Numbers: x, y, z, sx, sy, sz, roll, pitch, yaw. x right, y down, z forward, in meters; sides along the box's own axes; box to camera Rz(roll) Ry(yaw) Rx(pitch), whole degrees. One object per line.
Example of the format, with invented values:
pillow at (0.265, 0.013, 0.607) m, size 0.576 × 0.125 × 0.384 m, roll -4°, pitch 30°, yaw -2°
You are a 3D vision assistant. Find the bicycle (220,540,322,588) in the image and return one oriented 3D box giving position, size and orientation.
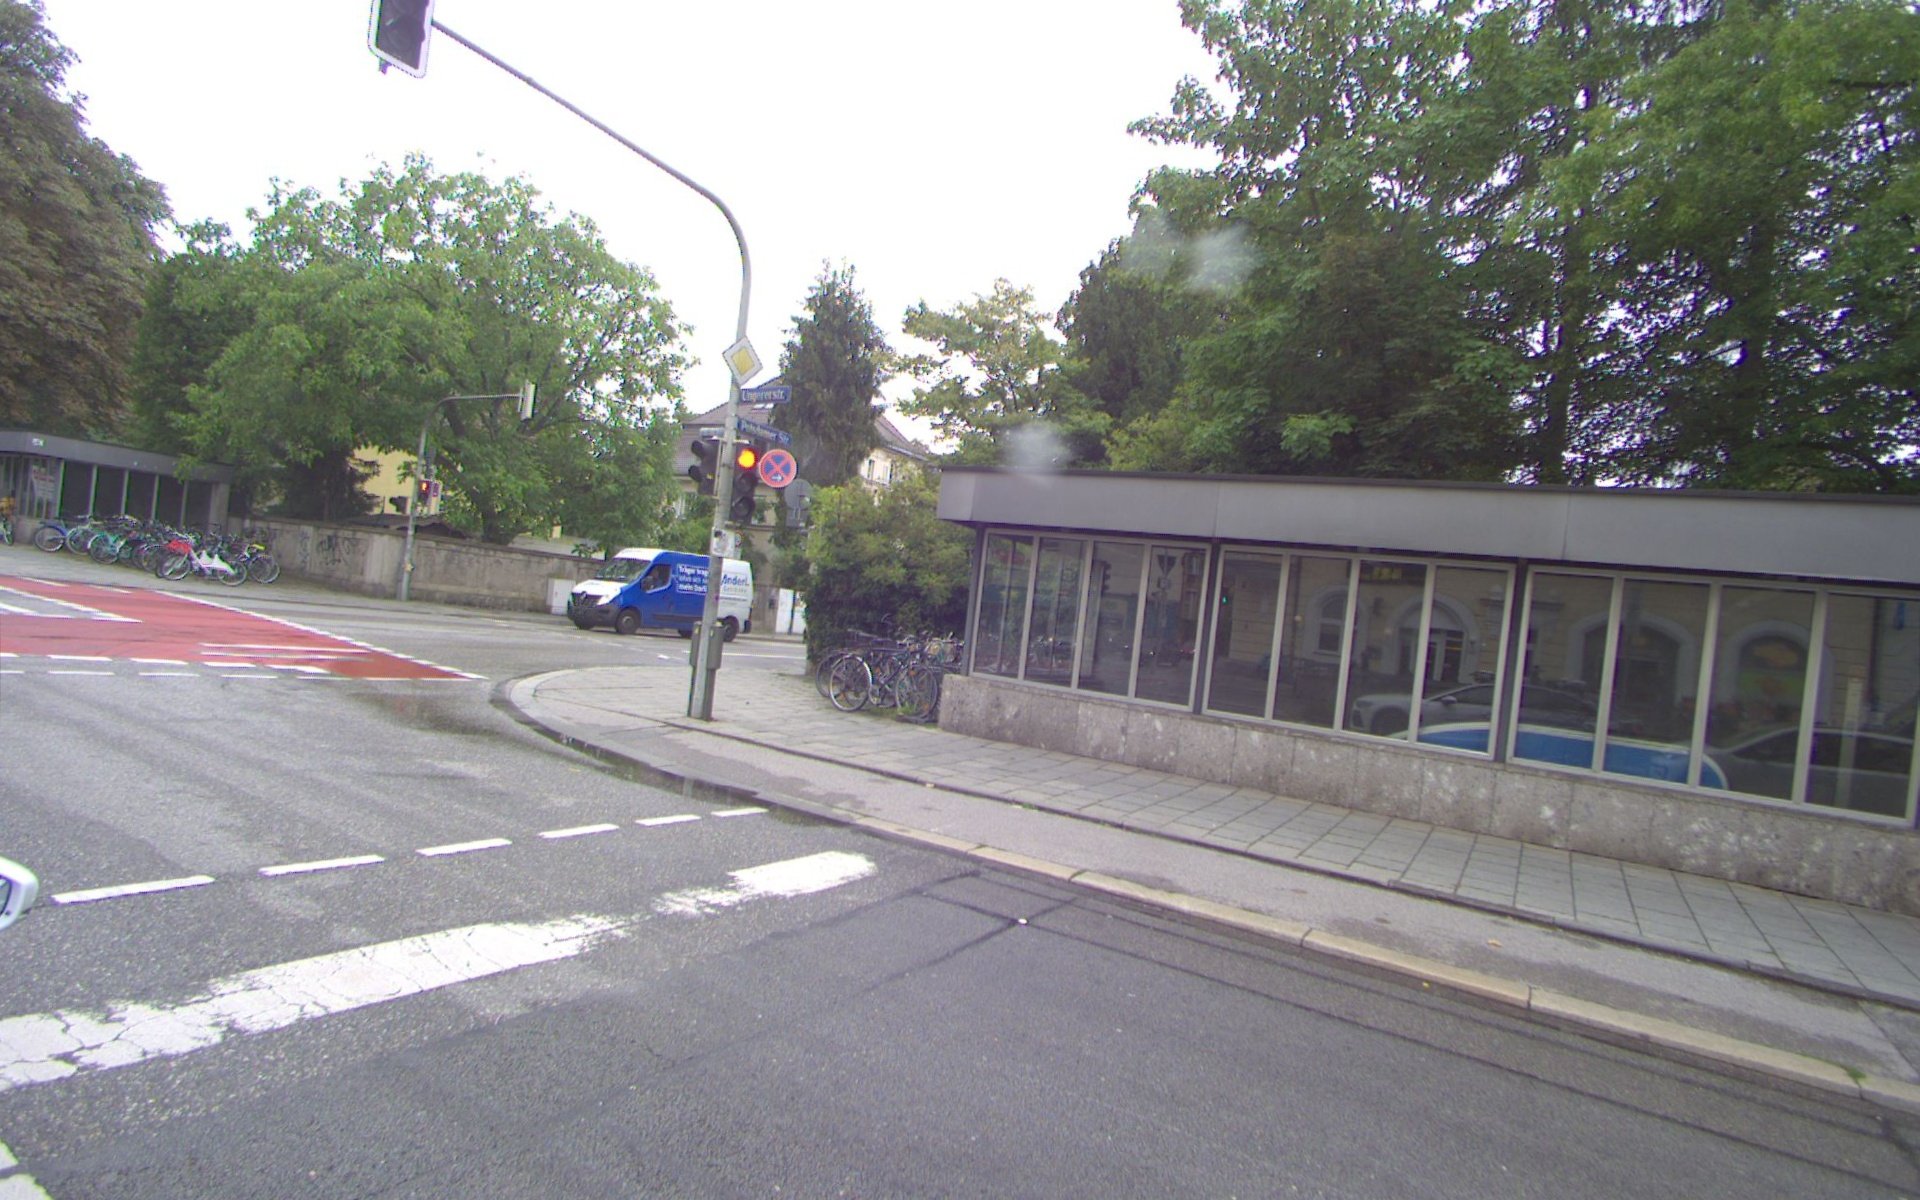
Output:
bicycle at (-18.783, -0.968, 27.469) m, size 0.625 × 1.026 × 2.141 m, roll 7°, pitch -1°, yaw 39°

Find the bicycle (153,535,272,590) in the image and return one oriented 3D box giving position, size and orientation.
bicycle at (-17.922, -0.879, 24.179) m, size 0.594 × 1.026 × 2.141 m, roll 7°, pitch -1°, yaw 39°

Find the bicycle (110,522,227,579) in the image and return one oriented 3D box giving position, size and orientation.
bicycle at (-19.725, -1.209, 25.115) m, size 0.594 × 1.114 × 2.141 m, roll 7°, pitch 0°, yaw 39°

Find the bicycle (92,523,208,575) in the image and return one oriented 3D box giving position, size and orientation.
bicycle at (-20.389, -1.269, 25.372) m, size 0.594 × 1.026 × 2.141 m, roll 7°, pitch -1°, yaw 39°

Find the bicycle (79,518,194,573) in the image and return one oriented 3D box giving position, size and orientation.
bicycle at (-21.013, -1.377, 25.713) m, size 0.594 × 1.099 × 2.141 m, roll 7°, pitch -1°, yaw 39°

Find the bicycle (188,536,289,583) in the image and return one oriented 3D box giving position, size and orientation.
bicycle at (-20.167, -1.127, 28.166) m, size 0.625 × 1.026 × 2.141 m, roll 7°, pitch -1°, yaw 39°

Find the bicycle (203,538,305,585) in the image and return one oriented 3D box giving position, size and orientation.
bicycle at (-19.486, -1.050, 27.808) m, size 0.625 × 1.026 × 2.141 m, roll 7°, pitch -1°, yaw 39°

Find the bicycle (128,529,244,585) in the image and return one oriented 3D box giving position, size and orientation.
bicycle at (-19.119, -1.053, 24.896) m, size 0.594 × 1.084 × 2.141 m, roll 7°, pitch -1°, yaw 39°

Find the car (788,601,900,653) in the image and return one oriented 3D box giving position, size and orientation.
car at (-4.039, 0.990, 35.601) m, size 1.669 × 1.414 × 3.838 m, roll 7°, pitch -1°, yaw 37°

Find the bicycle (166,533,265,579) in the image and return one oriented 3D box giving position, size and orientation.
bicycle at (-21.455, -1.260, 29.030) m, size 0.625 × 1.026 × 2.141 m, roll 7°, pitch -1°, yaw 39°

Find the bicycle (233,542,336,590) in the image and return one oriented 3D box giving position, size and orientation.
bicycle at (-18.146, -0.901, 27.068) m, size 0.625 × 1.026 × 2.141 m, roll 7°, pitch -1°, yaw 39°

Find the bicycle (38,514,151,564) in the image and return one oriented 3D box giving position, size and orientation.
bicycle at (-23.013, -1.608, 26.795) m, size 0.594 × 1.026 × 2.141 m, roll 7°, pitch -1°, yaw 39°

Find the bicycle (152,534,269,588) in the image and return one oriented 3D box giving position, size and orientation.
bicycle at (-18.337, -0.934, 24.671) m, size 0.625 × 1.026 × 2.141 m, roll 7°, pitch -1°, yaw 39°

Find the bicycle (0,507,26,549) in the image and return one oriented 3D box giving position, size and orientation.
bicycle at (-26.313, -2.017, 27.450) m, size 1.981 × 1.027 × 0.557 m, roll 7°, pitch 0°, yaw 30°

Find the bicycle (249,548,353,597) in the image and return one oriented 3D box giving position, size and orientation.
bicycle at (-17.468, -0.724, 26.702) m, size 0.625 × 1.026 × 2.141 m, roll 7°, pitch -1°, yaw 39°

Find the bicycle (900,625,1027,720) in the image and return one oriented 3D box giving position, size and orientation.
bicycle at (0.033, 1.015, 14.325) m, size 1.707 × 1.135 × 0.469 m, roll 6°, pitch 0°, yaw 32°

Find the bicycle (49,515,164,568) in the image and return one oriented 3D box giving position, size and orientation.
bicycle at (-22.296, -1.513, 26.316) m, size 0.594 × 1.075 × 2.141 m, roll 7°, pitch -1°, yaw 39°

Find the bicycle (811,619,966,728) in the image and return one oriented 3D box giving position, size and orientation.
bicycle at (-0.924, 0.904, 12.708) m, size 1.858 × 1.135 × 0.600 m, roll 6°, pitch 0°, yaw 32°

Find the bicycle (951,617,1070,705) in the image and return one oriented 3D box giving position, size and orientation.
bicycle at (0.760, 0.928, 15.486) m, size 1.707 × 1.135 × 0.469 m, roll 6°, pitch 0°, yaw 32°

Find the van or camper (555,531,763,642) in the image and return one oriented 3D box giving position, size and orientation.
van or camper at (-8.402, -0.289, 28.732) m, size 2.032 × 2.499 × 5.561 m, roll 7°, pitch -1°, yaw 31°

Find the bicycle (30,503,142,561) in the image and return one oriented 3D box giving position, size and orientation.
bicycle at (-23.577, -1.811, 27.186) m, size 0.594 × 1.233 × 2.141 m, roll 7°, pitch 0°, yaw 39°

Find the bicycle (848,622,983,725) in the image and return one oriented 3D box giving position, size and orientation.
bicycle at (-0.601, 0.951, 13.278) m, size 1.707 × 1.135 × 0.469 m, roll 6°, pitch 0°, yaw 32°

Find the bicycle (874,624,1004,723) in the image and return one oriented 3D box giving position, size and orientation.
bicycle at (-0.305, 0.982, 13.776) m, size 1.707 × 1.135 × 0.469 m, roll 6°, pitch 0°, yaw 32°

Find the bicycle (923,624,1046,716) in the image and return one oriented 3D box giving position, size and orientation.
bicycle at (0.344, 1.018, 14.840) m, size 1.707 × 1.135 × 0.469 m, roll 6°, pitch 0°, yaw 32°

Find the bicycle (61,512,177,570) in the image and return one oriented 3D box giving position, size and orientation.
bicycle at (-21.689, -1.506, 25.980) m, size 0.594 × 1.192 × 2.141 m, roll 7°, pitch 0°, yaw 39°
